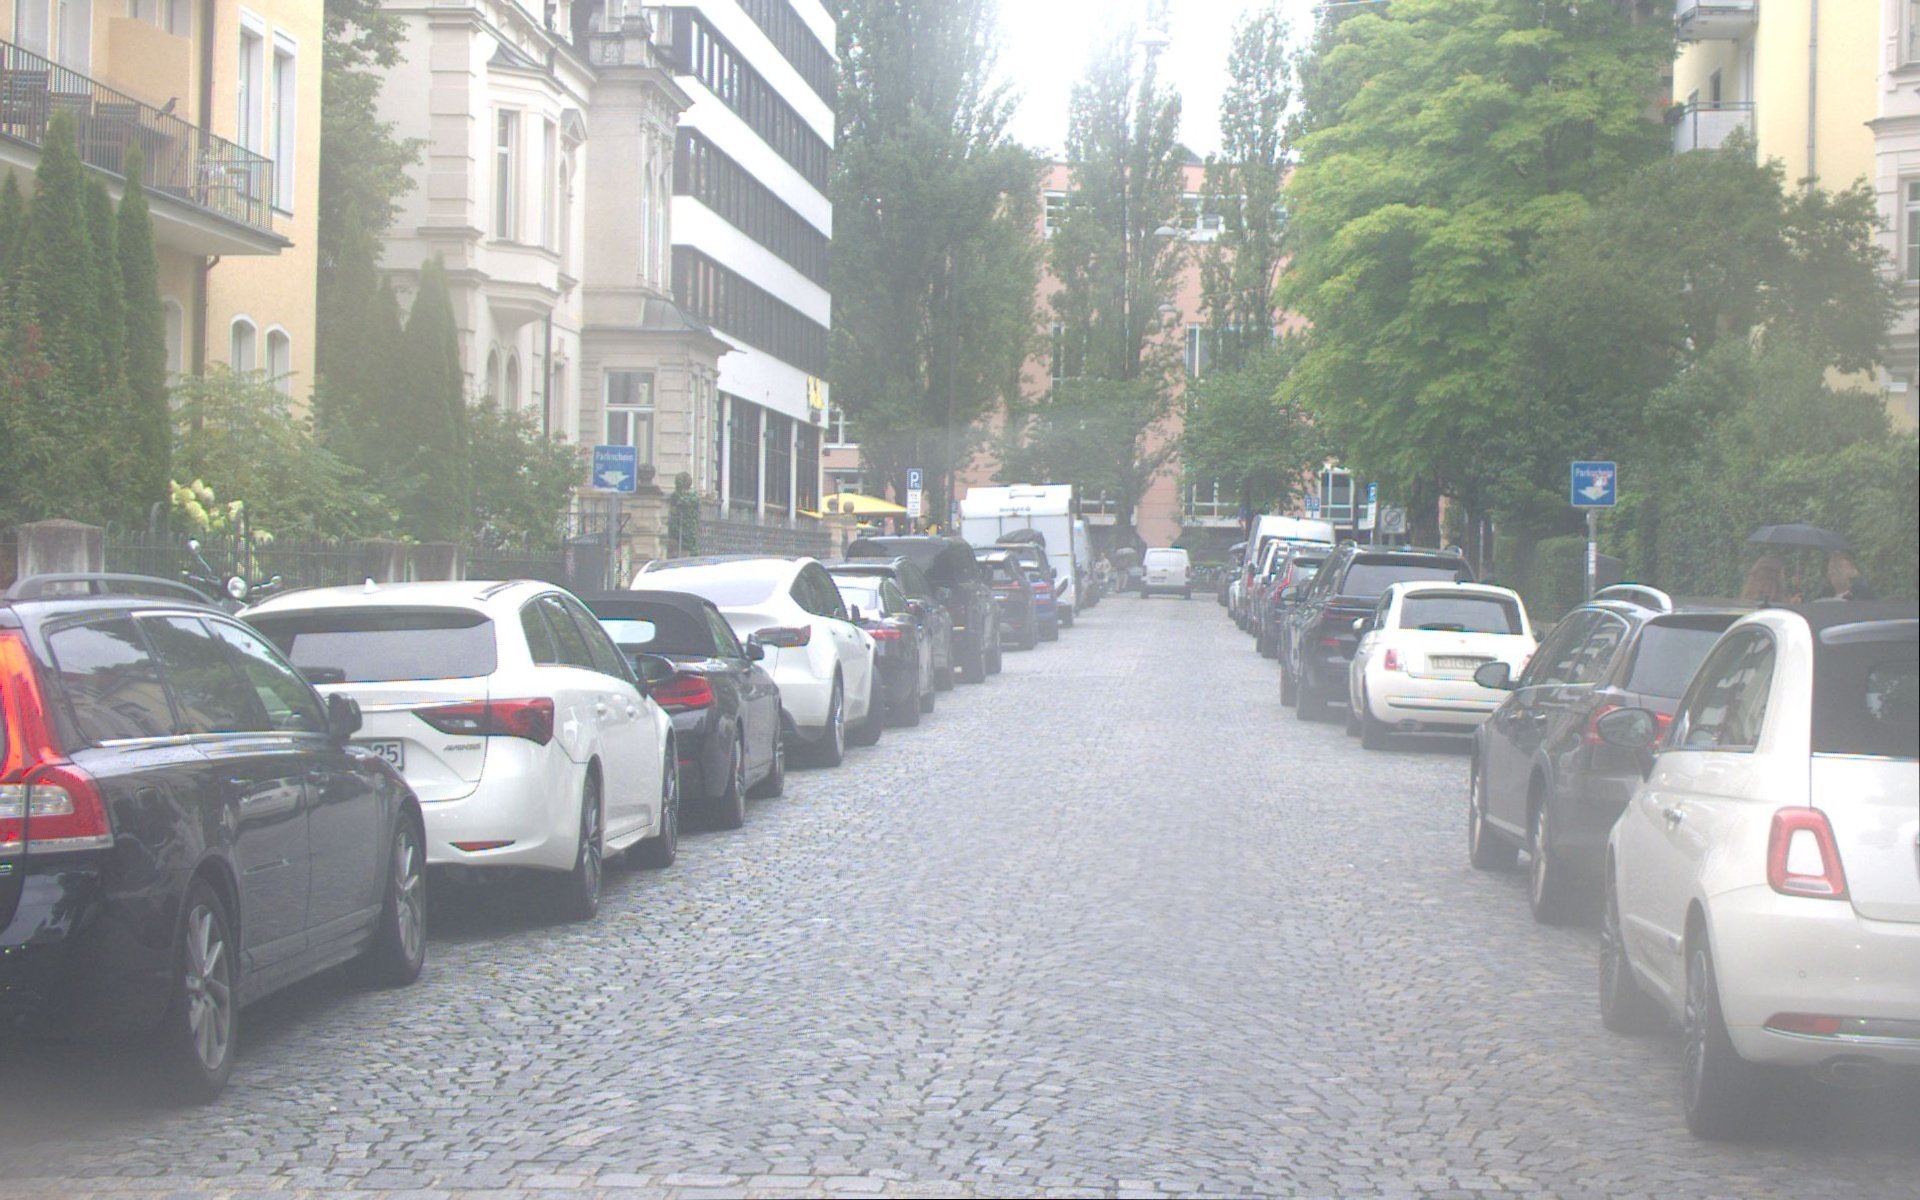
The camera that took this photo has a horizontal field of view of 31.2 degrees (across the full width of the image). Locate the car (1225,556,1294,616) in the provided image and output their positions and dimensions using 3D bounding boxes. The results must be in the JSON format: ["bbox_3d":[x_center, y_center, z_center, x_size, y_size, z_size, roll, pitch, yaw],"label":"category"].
[{"bbox_3d":[7.652,-0.364,87.933,1.600,1.481,3.479,2,0,3],"label":"car"}]

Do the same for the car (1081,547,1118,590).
[{"bbox_3d":[5.255,-1.171,129.007,1.277,1.536,3.118,2,0,4],"label":"car"}]

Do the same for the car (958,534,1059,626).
[{"bbox_3d":[0.998,-0.418,68.360,1.894,1.745,4.168,1,1,2],"label":"car"}]

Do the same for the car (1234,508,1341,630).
[{"bbox_3d":[7.128,-0.718,75.317,1.895,2.418,5.611,5,1,3],"label":"car"}]

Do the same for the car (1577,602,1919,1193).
[{"bbox_3d":[2.850,0.762,10.563,1.502,1.466,3.795,1,0,5],"label":"car"}]

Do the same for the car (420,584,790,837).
[{"bbox_3d":[-2.084,0.602,21.322,1.773,1.355,4.391,1,0,0],"label":"car"}]

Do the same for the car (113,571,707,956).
[{"bbox_3d":[-2.374,0.646,16.044,1.774,1.531,4.540,-1,0,4],"label":"car"}]

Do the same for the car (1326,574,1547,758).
[{"bbox_3d":[4.250,0.551,31.103,1.630,1.464,3.658,3,1,4],"label":"car"}]

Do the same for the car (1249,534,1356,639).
[{"bbox_3d":[6.895,-0.275,69.644,1.800,1.943,4.860,4,1,3],"label":"car"}]

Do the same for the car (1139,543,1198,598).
[{"bbox_3d":[7.528,-1.056,123.874,1.997,1.929,3.999,1,0,5],"label":"car"}]

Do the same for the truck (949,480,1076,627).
[{"bbox_3d":[1.196,-1.024,74.418,2.508,3.021,6.384,-1,1,3],"label":"truck"}]

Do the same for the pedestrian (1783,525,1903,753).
[{"bbox_3d":[7.095,0.312,27.642,0.628,1.802,0.660,1,0,-19],"label":"pedestrian"}]

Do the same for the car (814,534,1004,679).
[{"bbox_3d":[-0.598,0.032,44.594,1.983,1.731,4.722,2,1,5],"label":"car"}]

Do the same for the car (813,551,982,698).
[{"bbox_3d":[-0.675,0.267,39.699,1.580,1.584,4.055,-1,0,4],"label":"car"}]

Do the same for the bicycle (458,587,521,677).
[{"bbox_3d":[-5.338,0.351,39.065,0.352,0.999,1.572,1,0,5],"label":"bicycle"}]

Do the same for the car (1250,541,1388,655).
[{"bbox_3d":[5.886,-0.051,56.858,1.963,1.753,4.954,2,0,3],"label":"car"}]

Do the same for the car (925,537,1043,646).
[{"bbox_3d":[0.441,-0.147,57.847,1.774,1.712,4.390,2,0,3],"label":"car"}]

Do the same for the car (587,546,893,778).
[{"bbox_3d":[-1.646,0.436,27.229,1.774,1.642,4.390,2,0,5],"label":"car"}]

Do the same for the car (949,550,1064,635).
[{"bbox_3d":[0.885,-0.143,63.098,1.940,1.454,4.057,2,0,3],"label":"car"}]

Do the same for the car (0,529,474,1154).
[{"bbox_3d":[-2.940,0.580,11.151,1.852,1.581,4.748,2,0,2],"label":"car"}]

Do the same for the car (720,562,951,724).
[{"bbox_3d":[-1.141,0.381,33.426,1.774,1.424,4.390,2,0,4],"label":"car"}]

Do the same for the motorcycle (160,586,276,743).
[{"bbox_3d":[-5.883,0.492,27.308,0.491,1.190,1.579,1,1,3],"label":"motorcycle"}]

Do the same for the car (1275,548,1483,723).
[{"bbox_3d":[4.353,0.331,36.402,1.875,1.667,5.490,2,0,4],"label":"car"}]

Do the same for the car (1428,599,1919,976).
[{"bbox_3d":[3.352,0.777,16.589,1.648,1.417,4.632,5,0,3],"label":"car"}]

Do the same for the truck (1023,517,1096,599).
[{"bbox_3d":[3.015,-1.244,103.092,1.994,2.338,4.067,2,0,4],"label":"truck"}]

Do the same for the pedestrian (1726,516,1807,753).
[{"bbox_3d":[6.388,0.266,27.253,0.576,1.844,0.681,1,1,11],"label":"pedestrian"}]
